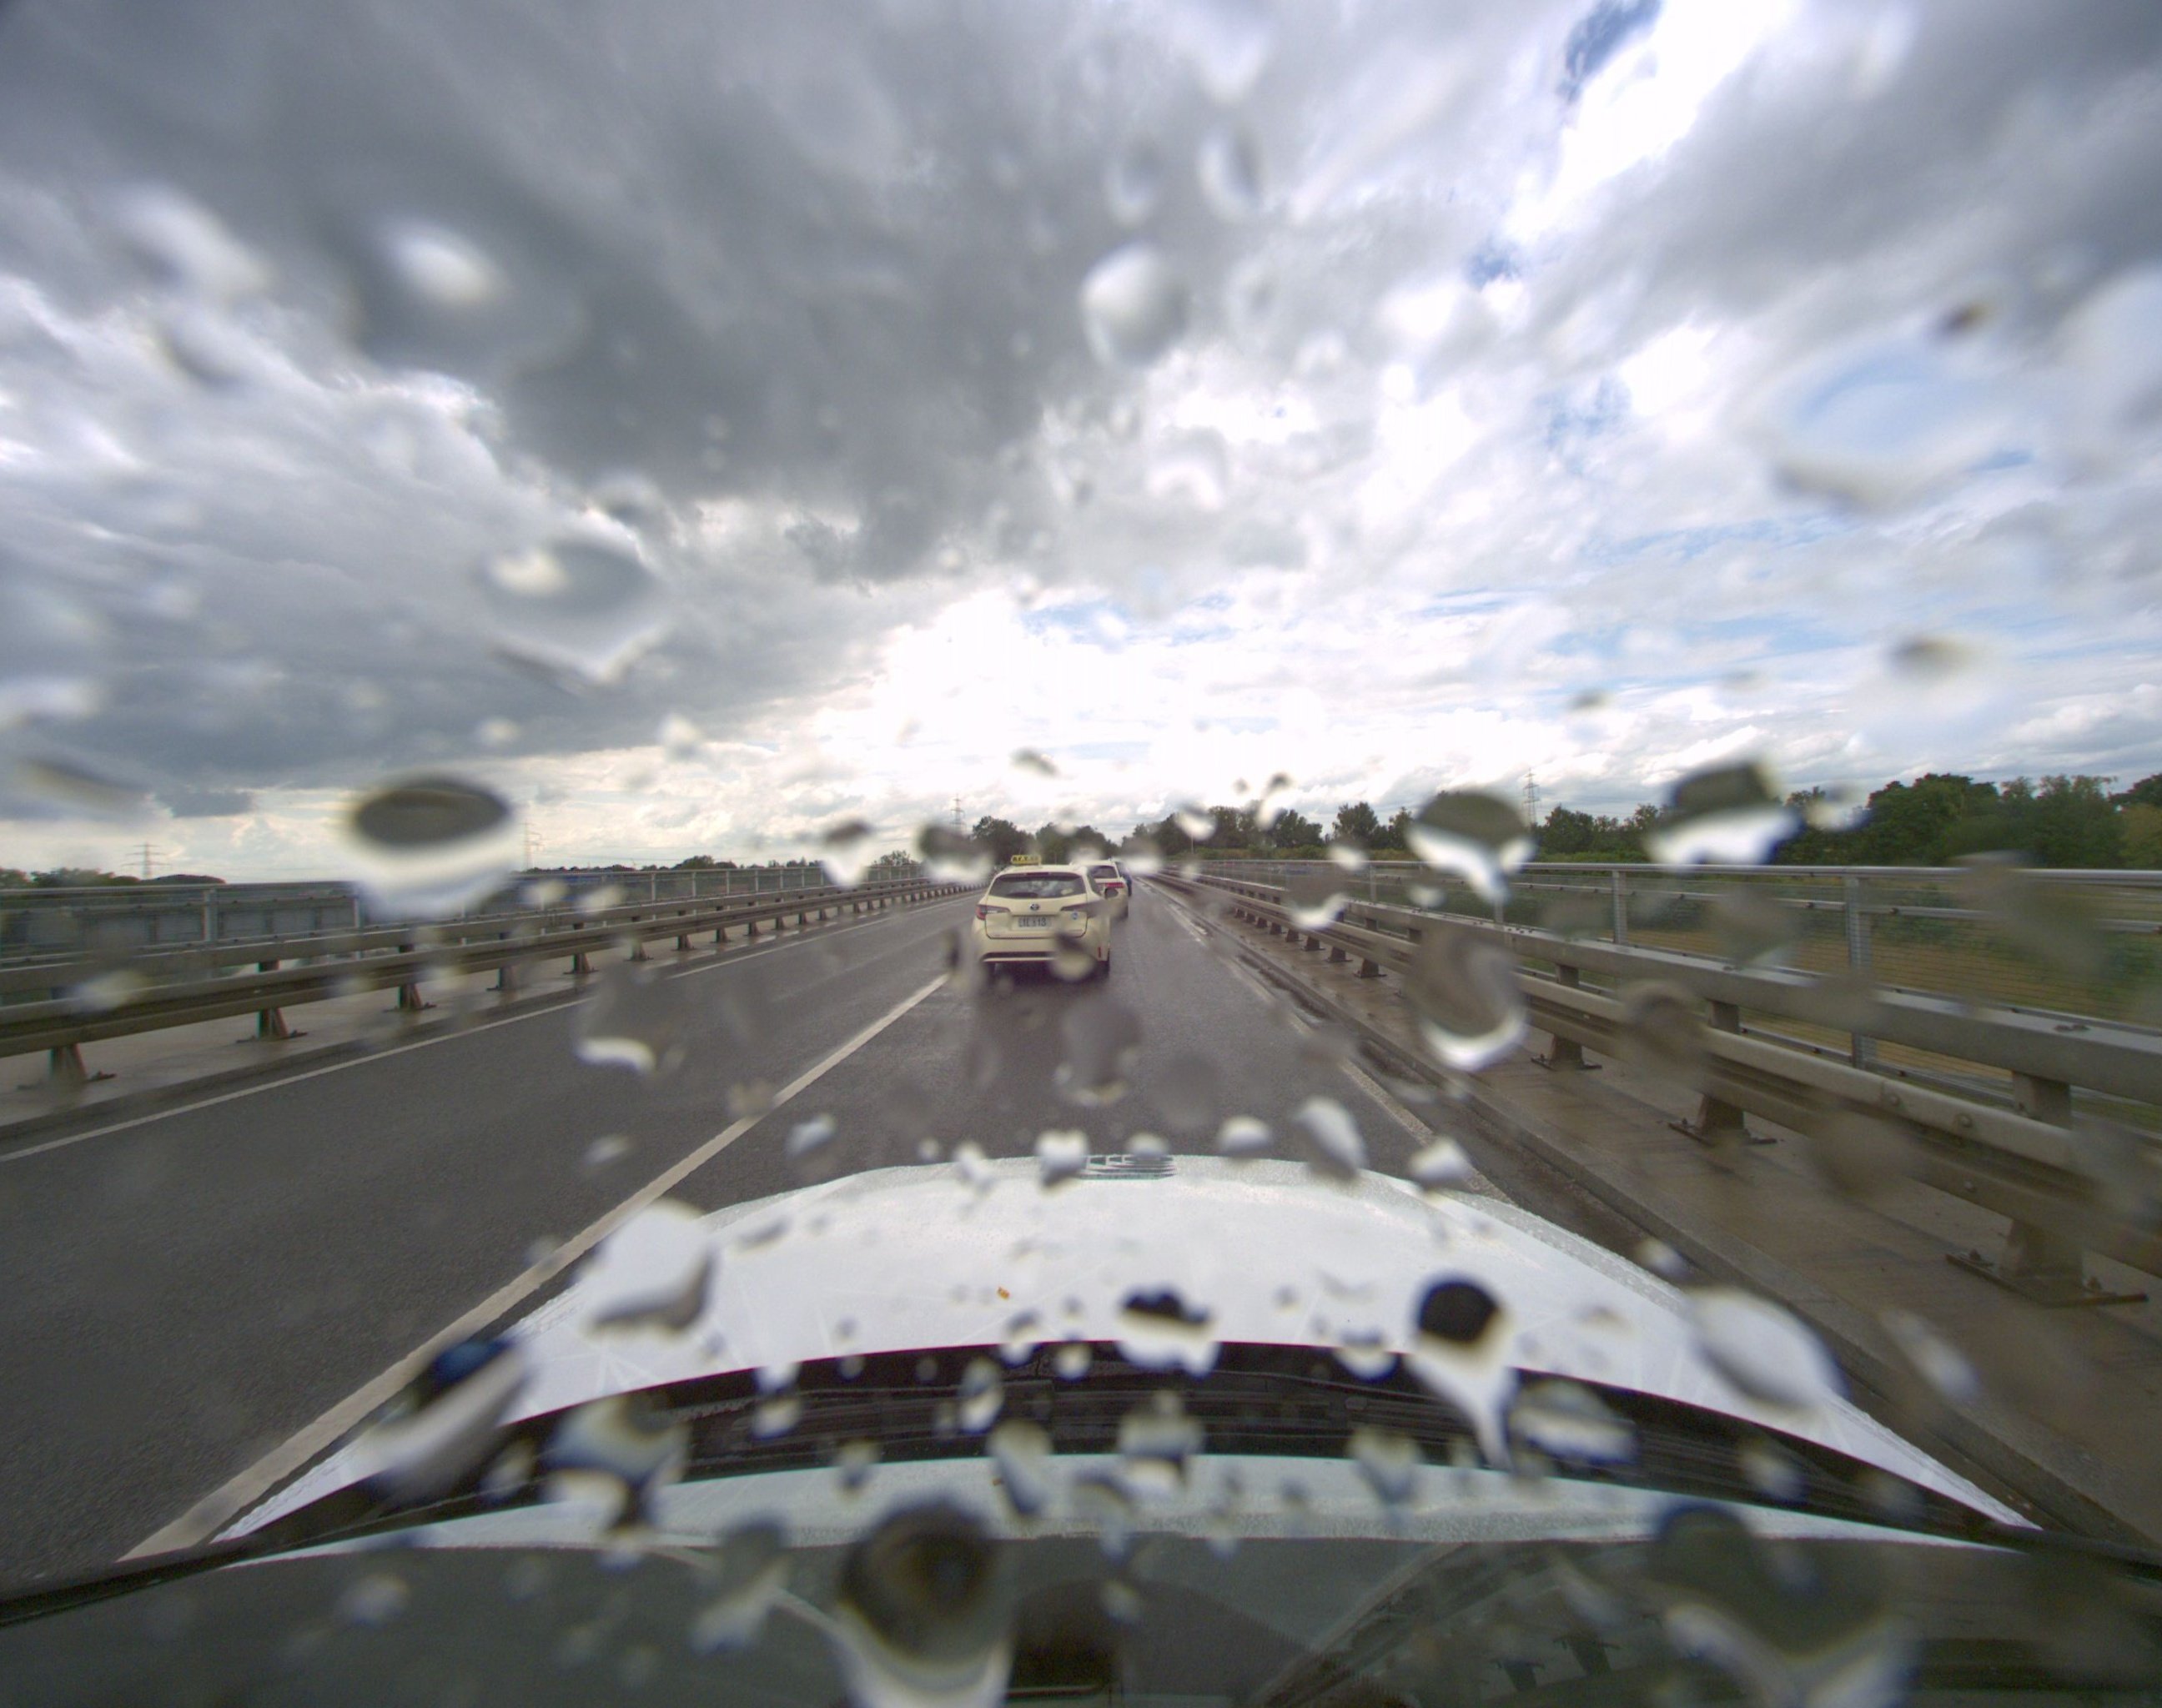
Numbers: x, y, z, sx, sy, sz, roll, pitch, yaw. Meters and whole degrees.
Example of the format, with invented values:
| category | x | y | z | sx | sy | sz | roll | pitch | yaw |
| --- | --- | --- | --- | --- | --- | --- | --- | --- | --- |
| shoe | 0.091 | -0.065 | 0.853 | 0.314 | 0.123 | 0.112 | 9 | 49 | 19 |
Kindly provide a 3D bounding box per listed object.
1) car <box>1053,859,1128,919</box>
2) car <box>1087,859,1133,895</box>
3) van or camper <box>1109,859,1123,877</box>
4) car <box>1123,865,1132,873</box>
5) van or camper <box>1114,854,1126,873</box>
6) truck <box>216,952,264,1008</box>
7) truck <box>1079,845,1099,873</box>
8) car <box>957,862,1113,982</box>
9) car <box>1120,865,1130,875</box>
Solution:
| category | x | y | z | sx | sy | sz | roll | pitch | yaw |
| --- | --- | --- | --- | --- | --- | --- | --- | --- | --- |
| car | 0.316 | 0.880 | 22.058 | 1.847 | 1.443 | 4.173 | -1 | 0 | 2 |
| car | 1.269 | 0.946 | 35.200 | 1.847 | 1.443 | 4.173 | -1 | 0 | 2 |
| van or camper | 5.726 | 2.264 | 132.979 | 2.323 | 2.864 | 6.309 | -1 | -1 | 2 |
| car | 11.655 | 3.666 | 205.089 | 1.986 | 2.014 | 4.001 | -1 | -1 | 1 |
| van or camper | 7.493 | 1.895 | 156.351 | 2.323 | 3.563 | 6.309 | -1 | -1 | 2 |
| truck | -80.887 | 11.943 | 78.439 | 2.450 | 4.001 | 11.035 | 0 | -1 | -42 |
| truck | 1.242 | 0.739 | 123.131 | 2.672 | 4.017 | 10.060 | -1 | 0 | 3 |
| car | -0.474 | 0.833 | 11.783 | 1.847 | 1.394 | 4.173 | -1 | 0 | 2 |
| car | 9.722 | 3.487 | 179.123 | 1.986 | 2.014 | 4.001 | -1 | -1 | 1 |
